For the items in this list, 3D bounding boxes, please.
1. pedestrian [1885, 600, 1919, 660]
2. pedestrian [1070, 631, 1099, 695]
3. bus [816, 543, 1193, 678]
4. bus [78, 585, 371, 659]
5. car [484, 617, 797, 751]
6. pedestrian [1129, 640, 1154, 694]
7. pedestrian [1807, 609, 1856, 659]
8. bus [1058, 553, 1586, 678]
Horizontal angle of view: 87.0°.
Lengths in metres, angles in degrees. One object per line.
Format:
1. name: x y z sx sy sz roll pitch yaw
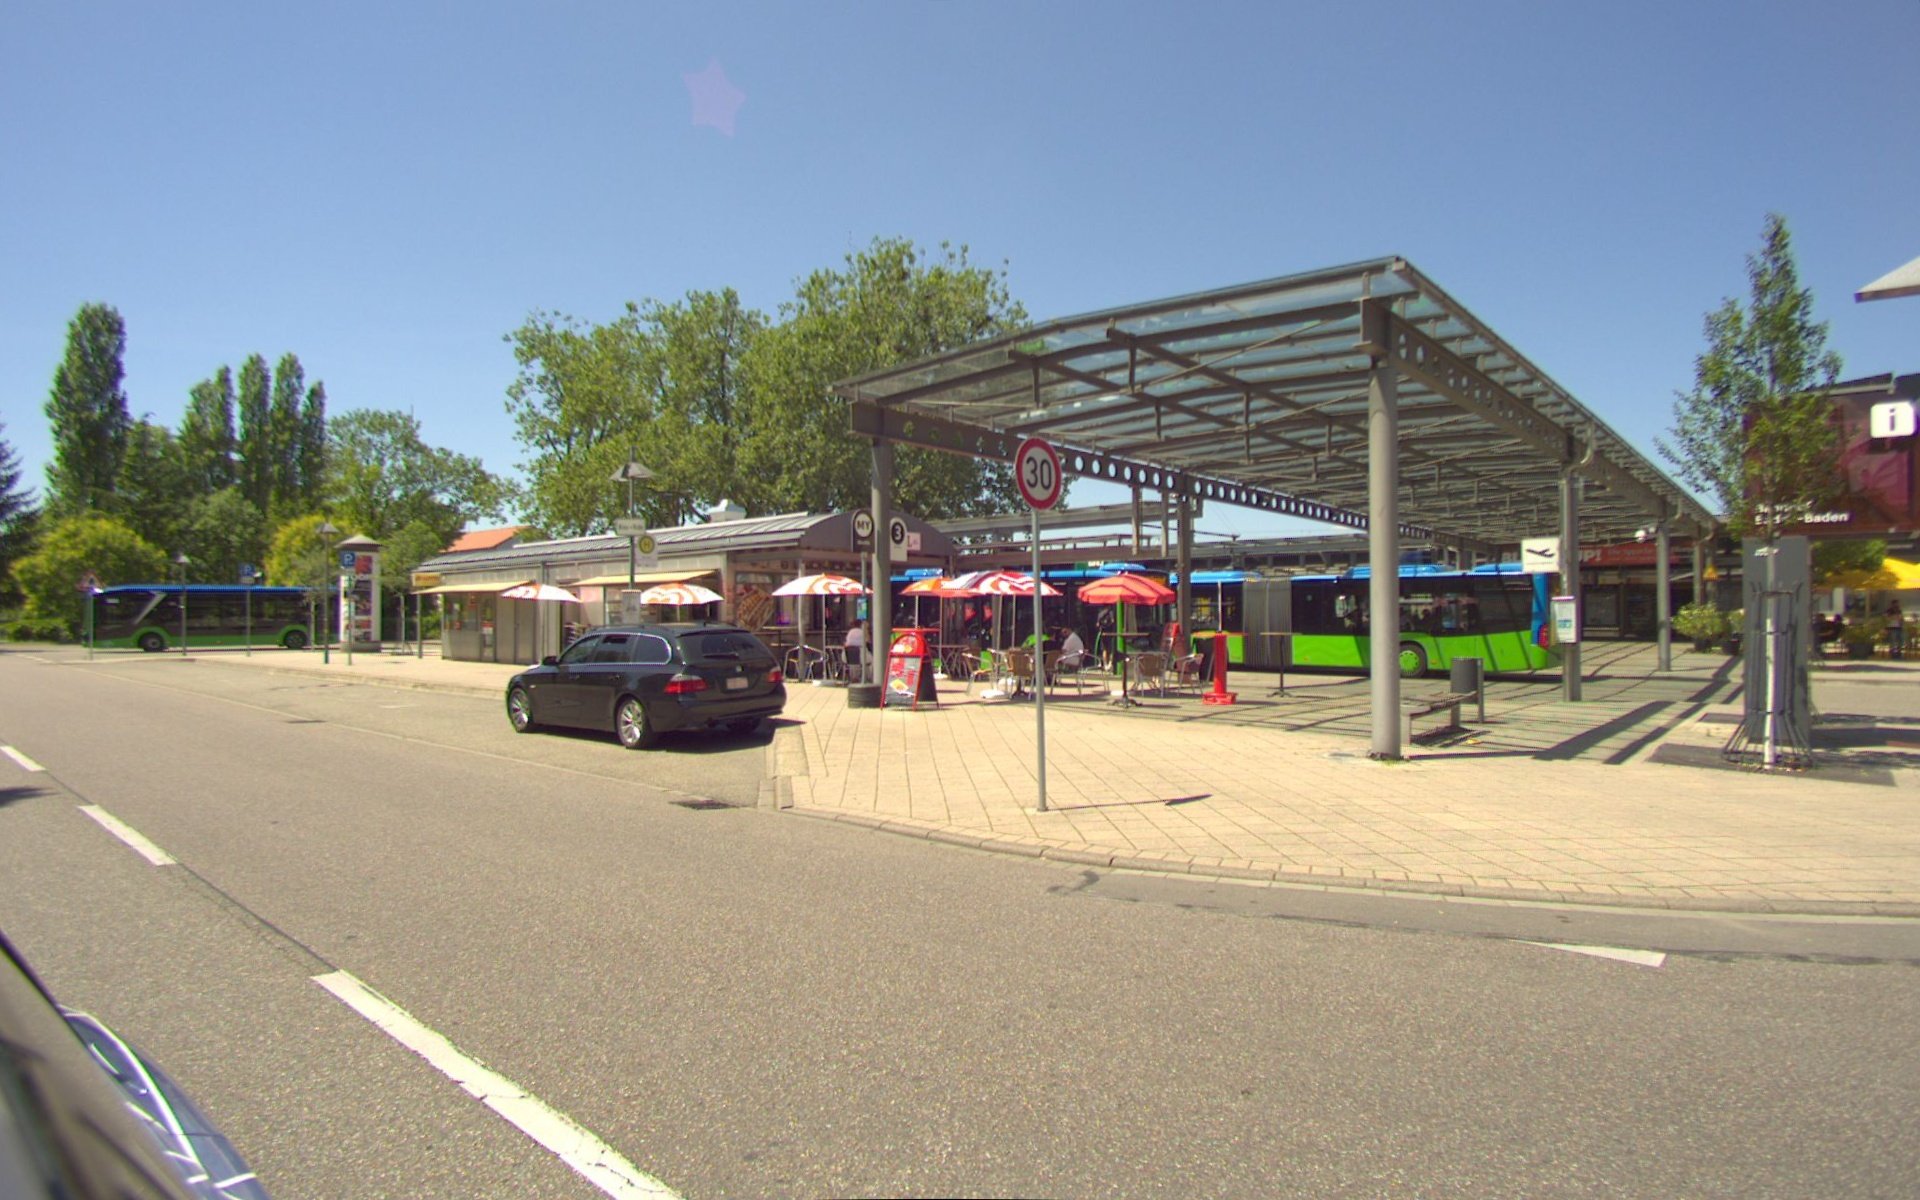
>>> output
1. pedestrian: 27.030 0.849 28.861 0.777 1.698 0.659 -3 -3 34
2. pedestrian: 2.242 1.133 18.247 0.365 1.131 0.427 1 -1 -15
3. bus: 0.742 0.404 29.476 11.844 3.258 2.933 -2 -2 42
4. bus: -37.320 1.051 52.108 12.012 3.553 2.176 0 -1 -29
5. car: -4.400 0.990 13.513 4.782 1.490 1.701 -1 -2 40
6. pedestrian: 3.266 1.198 18.223 0.421 0.930 0.370 1 0 12
7. pedestrian: 26.497 1.028 30.792 0.957 1.488 0.890 -2 -2 32
8. bus: 9.996 0.581 31.153 15.520 3.060 2.835 -2 -2 44
